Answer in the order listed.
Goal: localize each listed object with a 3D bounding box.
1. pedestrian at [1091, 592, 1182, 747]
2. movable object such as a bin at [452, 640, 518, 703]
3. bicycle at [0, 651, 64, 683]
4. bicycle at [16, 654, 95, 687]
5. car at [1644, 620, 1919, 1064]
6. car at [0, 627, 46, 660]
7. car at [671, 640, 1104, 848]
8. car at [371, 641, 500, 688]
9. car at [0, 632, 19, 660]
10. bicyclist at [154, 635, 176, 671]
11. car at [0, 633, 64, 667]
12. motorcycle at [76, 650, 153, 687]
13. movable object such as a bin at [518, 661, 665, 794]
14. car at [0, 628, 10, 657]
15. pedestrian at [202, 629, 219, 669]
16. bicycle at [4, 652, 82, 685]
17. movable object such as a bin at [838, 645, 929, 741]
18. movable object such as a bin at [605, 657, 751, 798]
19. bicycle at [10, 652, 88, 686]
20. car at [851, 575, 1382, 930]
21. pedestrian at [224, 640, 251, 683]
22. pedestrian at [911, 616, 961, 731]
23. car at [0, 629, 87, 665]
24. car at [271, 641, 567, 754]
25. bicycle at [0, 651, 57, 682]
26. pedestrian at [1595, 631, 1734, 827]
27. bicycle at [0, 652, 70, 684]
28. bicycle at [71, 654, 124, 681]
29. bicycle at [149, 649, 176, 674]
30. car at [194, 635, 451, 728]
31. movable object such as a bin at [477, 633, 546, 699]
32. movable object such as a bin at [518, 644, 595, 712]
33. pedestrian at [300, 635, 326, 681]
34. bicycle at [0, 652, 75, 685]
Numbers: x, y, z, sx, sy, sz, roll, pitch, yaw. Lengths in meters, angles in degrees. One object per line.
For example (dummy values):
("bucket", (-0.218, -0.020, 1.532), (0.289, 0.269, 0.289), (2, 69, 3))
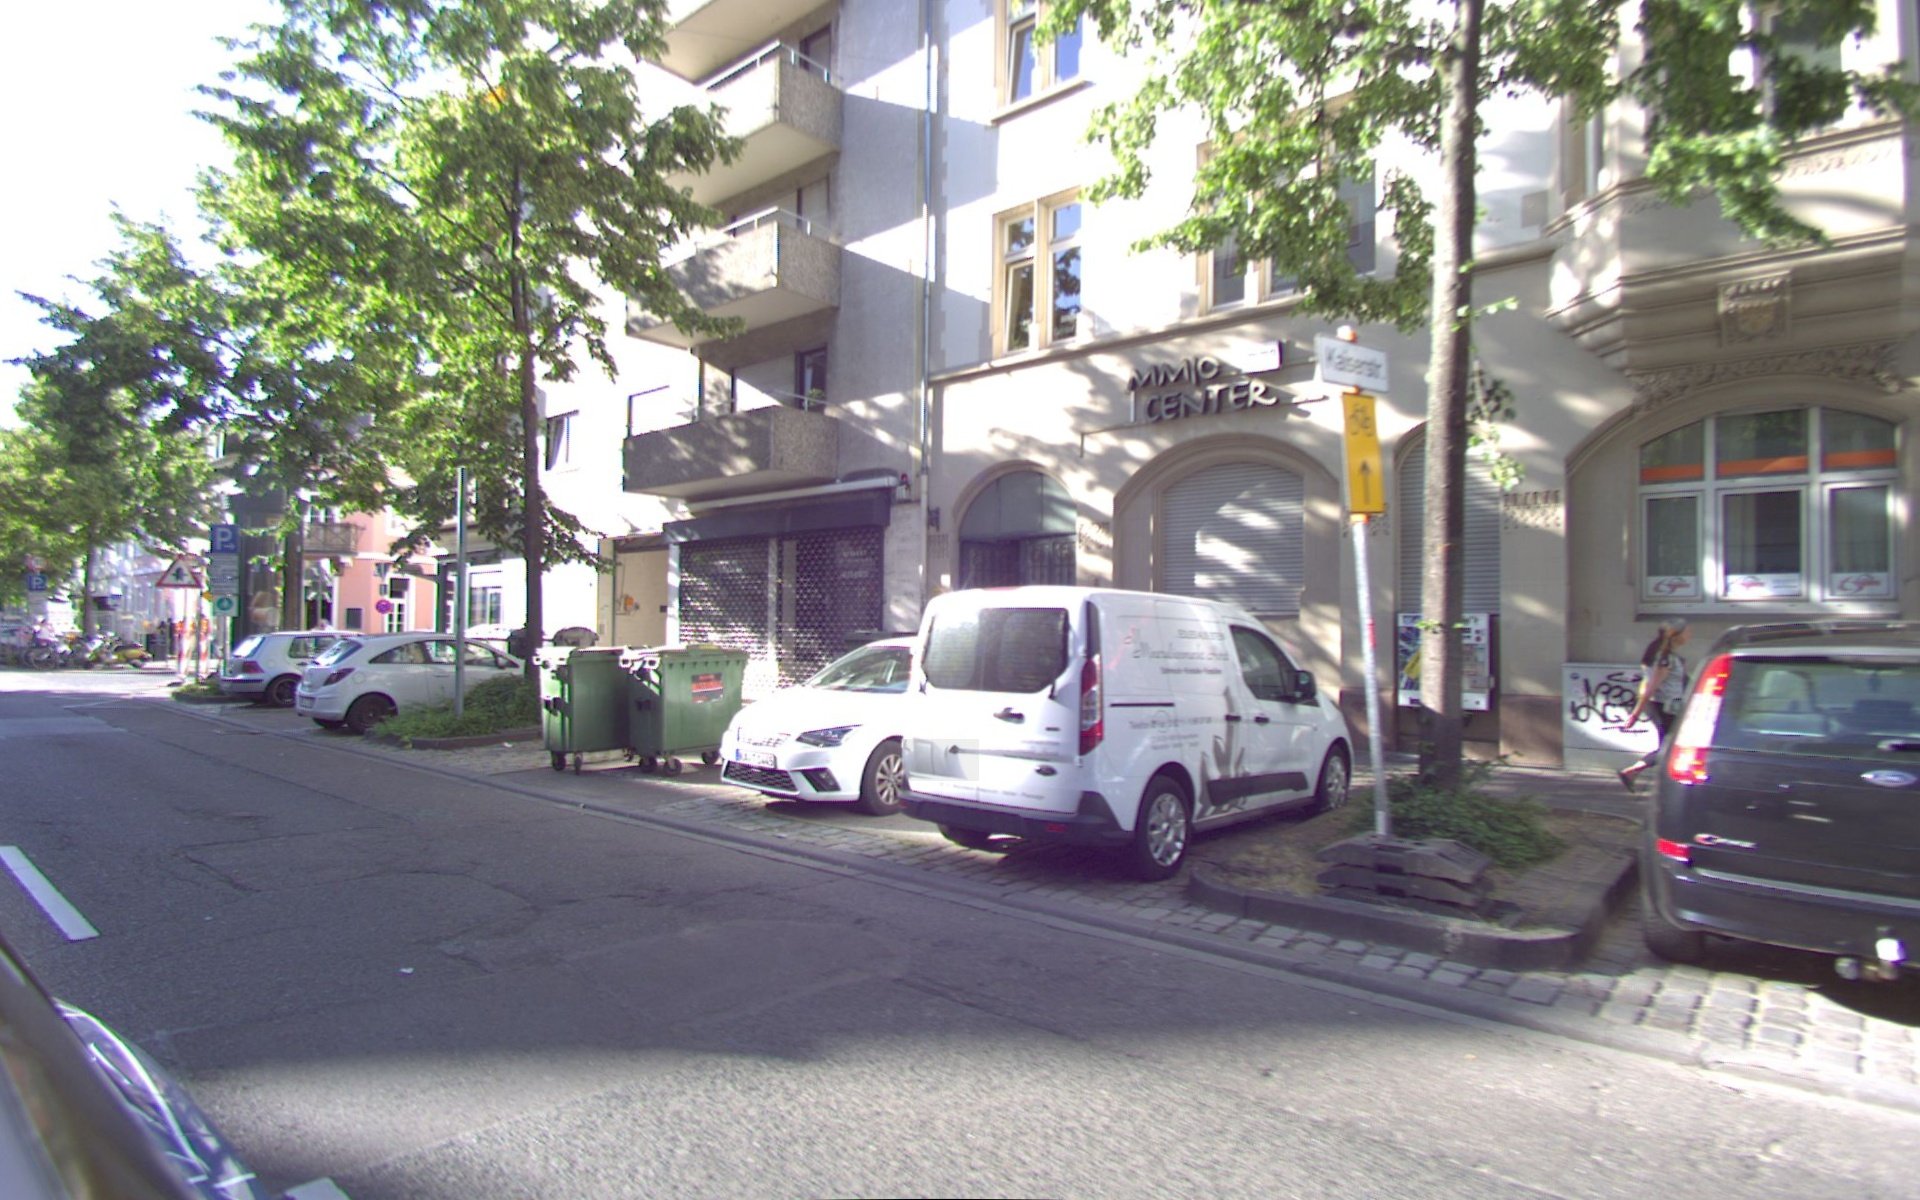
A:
("pedestrian", (2.157, 0.817, 12.349), (0.762, 1.779, 0.767), (-1, 1, 39))
("movable object such as a bin", (-11.510, 1.715, 24.524), (1.258, 1.471, 1.022), (-2, -4, 42))
("bicycle", (-33.210, 2.374, 35.991), (0.471, 1.037, 1.987), (-1, -1, 27))
("bicycle", (-31.070, 2.402, 34.794), (0.471, 1.037, 1.987), (-1, -1, 27))
("car", (4.710, 0.899, 4.961), (1.791, 1.570, 3.760), (-2, -3, 41))
("car", (-51.393, 2.298, 53.662), (1.998, 1.693, 4.082), (-1, -2, 39))
("car", (-0.512, 1.151, 9.624), (1.886, 1.475, 3.938), (-2, -2, 41))
("car", (-17.610, 2.125, 34.177), (1.889, 1.488, 3.581), (-1, -3, 18))
("car", (-57.683, 2.674, 58.843), (1.910, 1.606, 4.082), (-1, -2, 39))
("bicyclist", (-34.496, 2.287, 43.912), (0.751, 1.515, 0.563), (1, -2, 40))
("car", (-49.293, 2.578, 52.377), (1.998, 1.693, 4.082), (-1, -2, 39))
("motorcycle", (-29.525, 2.375, 35.354), (0.740, 1.194, 1.977), (-2, -2, 43))
("movable object such as a bin", (-4.003, 1.342, 11.044), (0.869, 1.312, 1.225), (-2, -3, 40))
("car", (-61.536, 2.609, 62.431), (1.910, 1.816, 4.082), (-1, -2, 39))
("pedestrian", (-33.180, 2.172, 44.795), (0.509, 1.740, 0.526), (2, -3, -32))
("bicycle", (-31.966, 2.389, 35.307), (0.471, 1.037, 1.987), (-1, -1, 27))
("movable object such as a bin", (-1.205, 1.433, 15.903), (1.227, 1.408, 0.812), (-2, -2, 43))
("movable object such as a bin", (-2.999, 1.301, 10.794), (0.931, 1.355, 1.180), (-2, -2, 40))
("bicycle", (-31.536, 2.376, 35.060), (0.471, 1.037, 1.987), (-1, -1, 27))
("car", (1.380, 0.847, 7.508), (2.037, 1.850, 4.062), (-2, -2, 41))
("pedestrian", (-27.409, 2.325, 38.373), (0.862, 1.614, 0.641), (-3, -2, 41))
("pedestrian", (-0.363, 1.086, 15.269), (0.639, 1.684, 0.429), (-2, -2, 43))
("car", (-44.945, 2.234, 48.746), (1.998, 1.693, 4.082), (-1, -2, 39))
("car", (-8.324, 1.413, 15.842), (1.707, 1.475, 3.742), (-2, -2, 38))
("bicycle", (-33.668, 2.379, 36.235), (0.471, 1.037, 1.987), (-1, -1, 27))
("pedestrian", (5.848, 1.027, 8.408), (0.842, 1.505, 0.586), (-2, -1, 42))
("bicycle", (-32.791, 2.378, 35.751), (0.471, 1.037, 1.987), (-1, -1, 27))
("bicycle", (-31.175, 2.439, 36.594), (1.493, 0.958, 0.360), (-1, -1, -8))
("bicycle", (-34.820, 2.678, 44.175), (1.650, 1.096, 0.563), (-3, -4, 40))
("car", (-12.405, 1.507, 19.884), (1.747, 1.475, 3.957), (0, 0, 40))
("movable object such as a bin", (-10.409, 1.520, 23.479), (1.258, 1.471, 1.022), (-2, -4, 42))
("movable object such as a bin", (-8.894, 1.695, 22.283), (1.351, 1.426, 1.066), (-2, -4, 42))
("pedestrian", (-24.586, 2.191, 38.467), (0.579, 1.740, 0.622), (-2, -3, 38))
("bicycle", (-32.409, 2.385, 35.548), (0.471, 1.037, 1.987), (-1, -1, 27))
